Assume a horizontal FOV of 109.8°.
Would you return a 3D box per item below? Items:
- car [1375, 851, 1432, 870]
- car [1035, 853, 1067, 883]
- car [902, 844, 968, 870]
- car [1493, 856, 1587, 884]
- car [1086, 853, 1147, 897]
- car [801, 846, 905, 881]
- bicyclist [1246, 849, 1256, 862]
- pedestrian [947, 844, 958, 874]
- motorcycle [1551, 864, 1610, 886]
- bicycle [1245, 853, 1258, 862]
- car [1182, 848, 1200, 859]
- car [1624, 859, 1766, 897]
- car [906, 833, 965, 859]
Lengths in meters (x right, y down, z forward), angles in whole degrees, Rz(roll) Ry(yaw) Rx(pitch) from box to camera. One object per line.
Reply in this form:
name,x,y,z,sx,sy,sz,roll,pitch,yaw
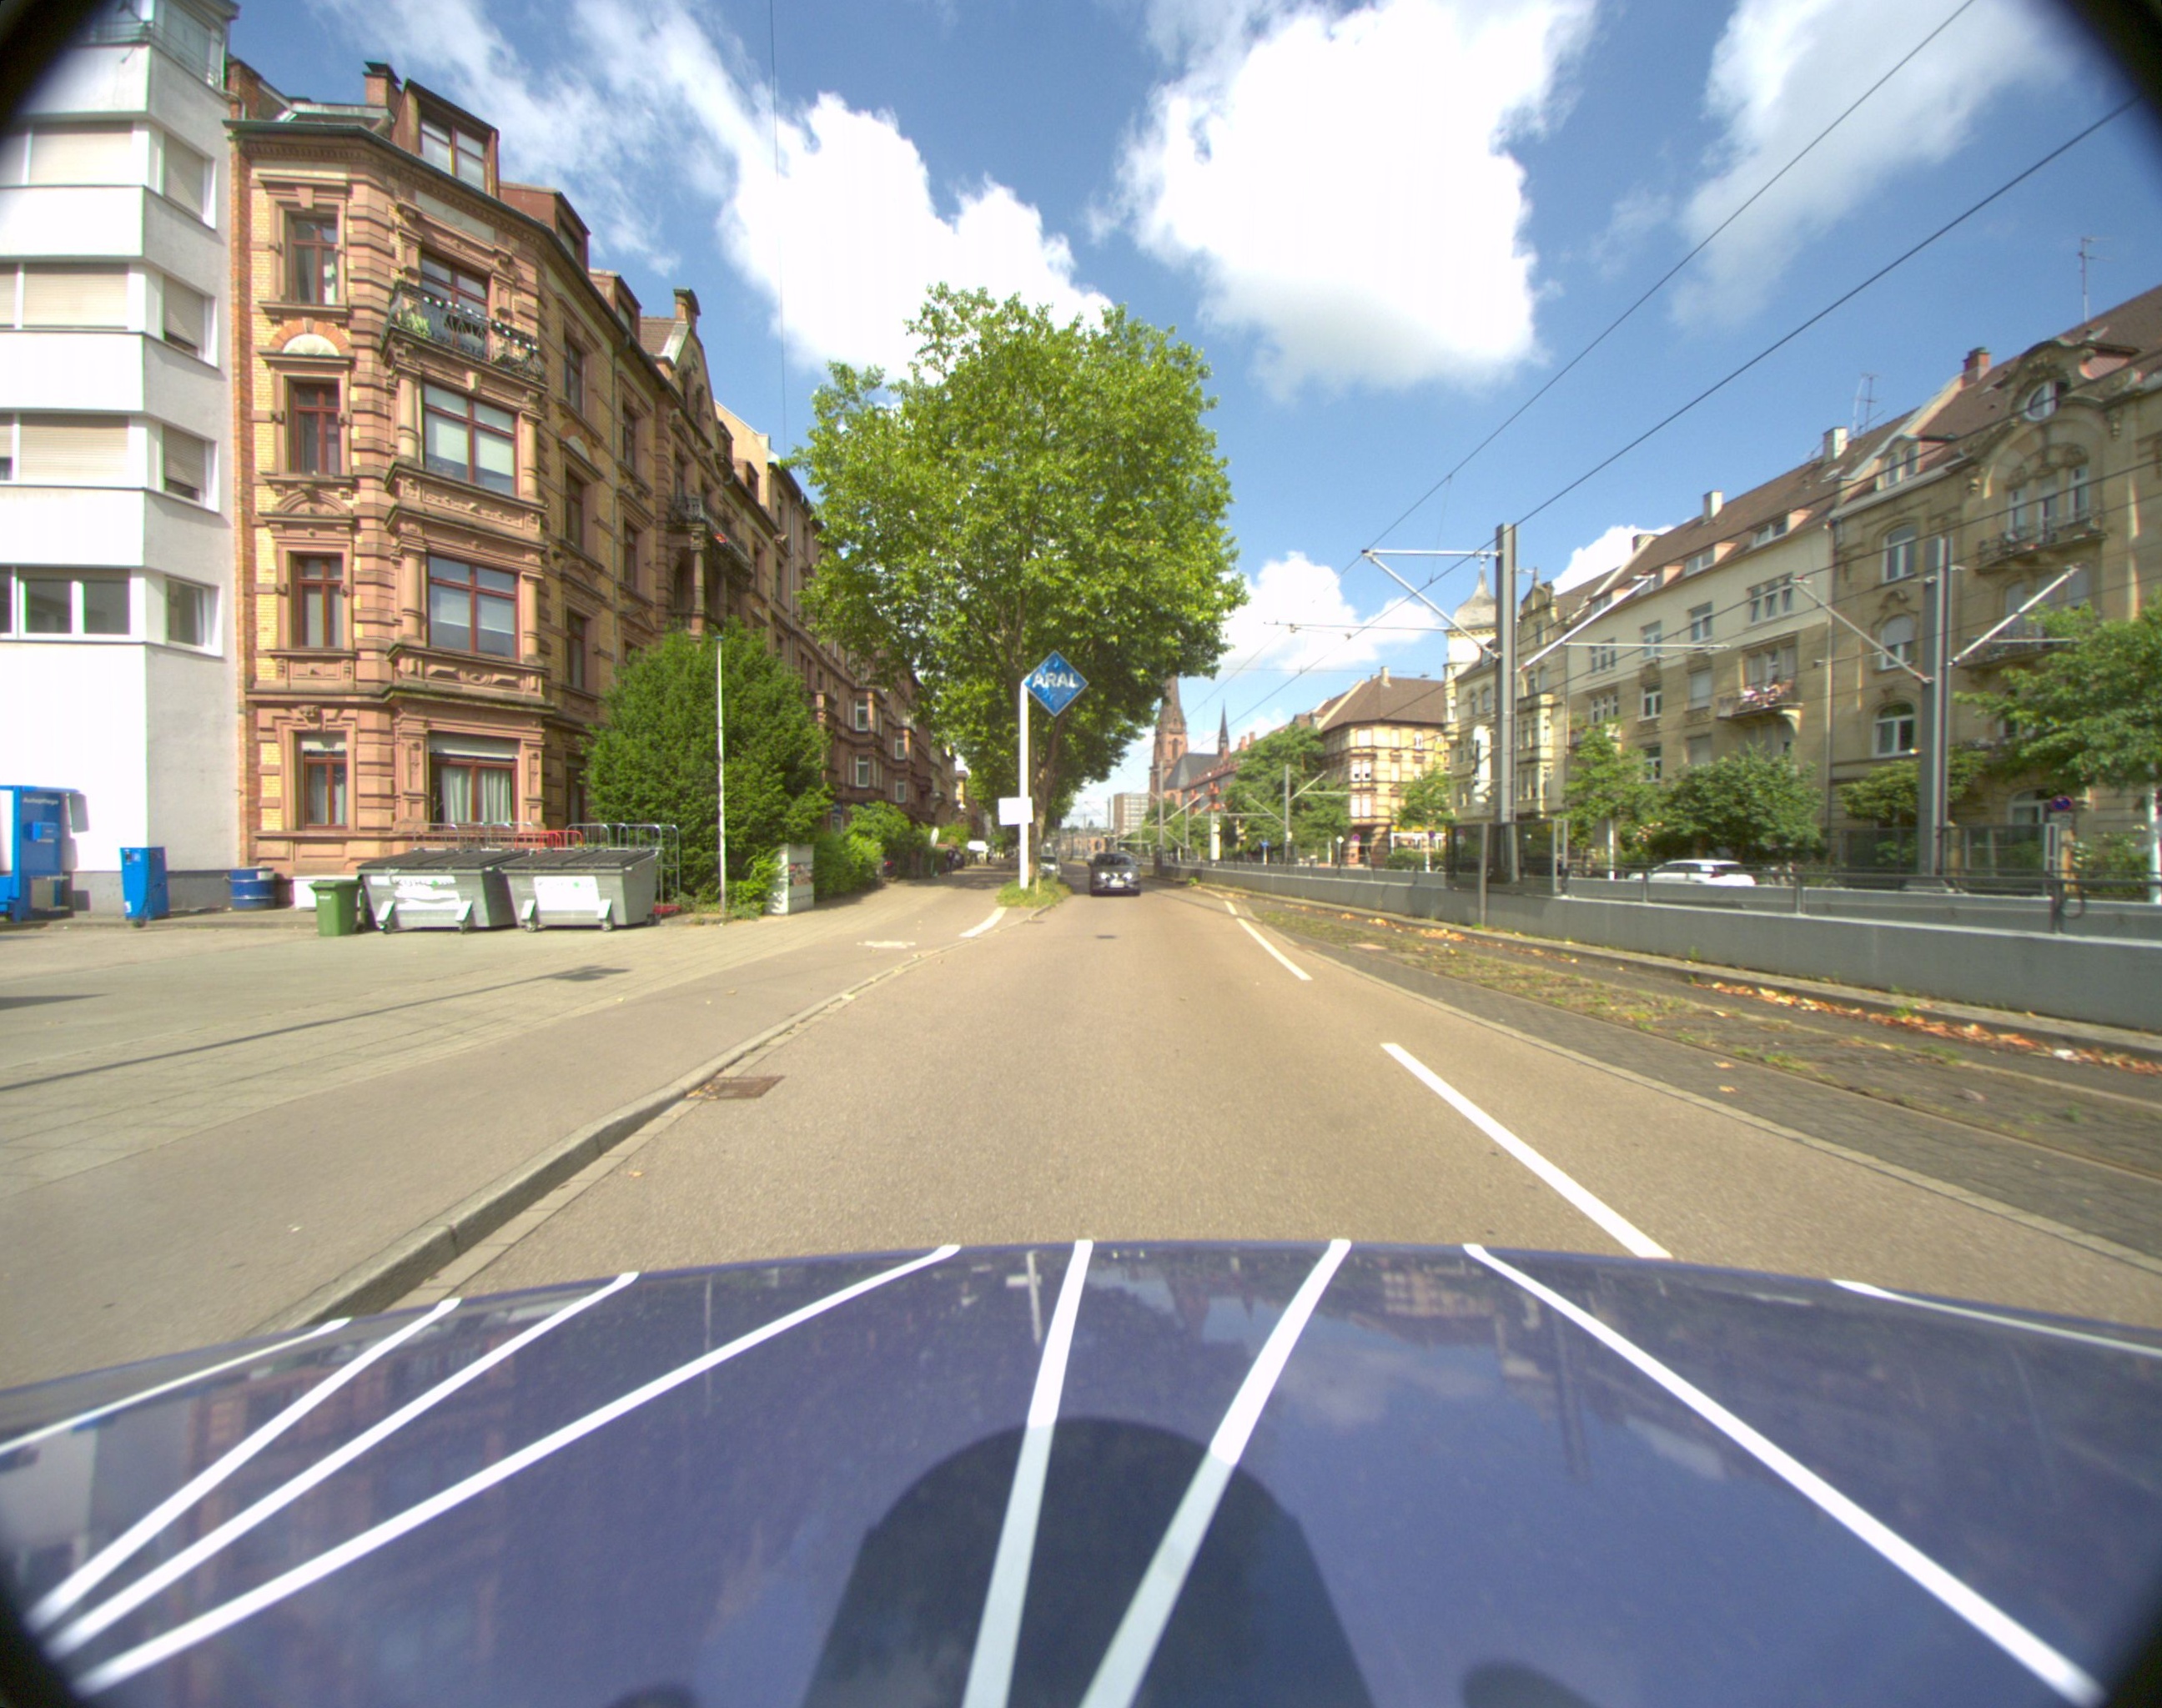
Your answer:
car,27.126,0.524,63.965,3.964,1.597,2.034,0,1,-12
car,-1.631,0.711,40.522,1.558,1.477,3.857,1,0,-4
car,-10.840,0.232,56.592,4.737,1.772,2.003,1,0,-12
car,23.068,0.757,38.395,2.026,1.319,4.098,0,0,-6
car,1.225,0.723,28.200,1.800,1.454,4.566,0,0,-3
car,-10.512,0.431,35.243,4.246,1.461,1.941,2,1,-4
bicyclist,18.461,0.163,82.404,0.770,1.330,1.048,2,1,-3
pedestrian,-7.564,0.305,44.814,0.565,1.776,0.630,0,1,-4
motorcycle,23.274,0.982,35.420,1.765,0.936,1.417,2,0,-5
bicycle,18.467,0.348,82.306,0.778,0.973,2.140,2,0,-3
car,17.310,-0.130,119.348,1.999,1.628,4.112,0,0,-4
car,23.650,0.876,29.493,1.757,1.320,4.310,0,0,-6
car,-11.920,-0.651,62.607,4.409,1.927,1.983,3,0,-2
